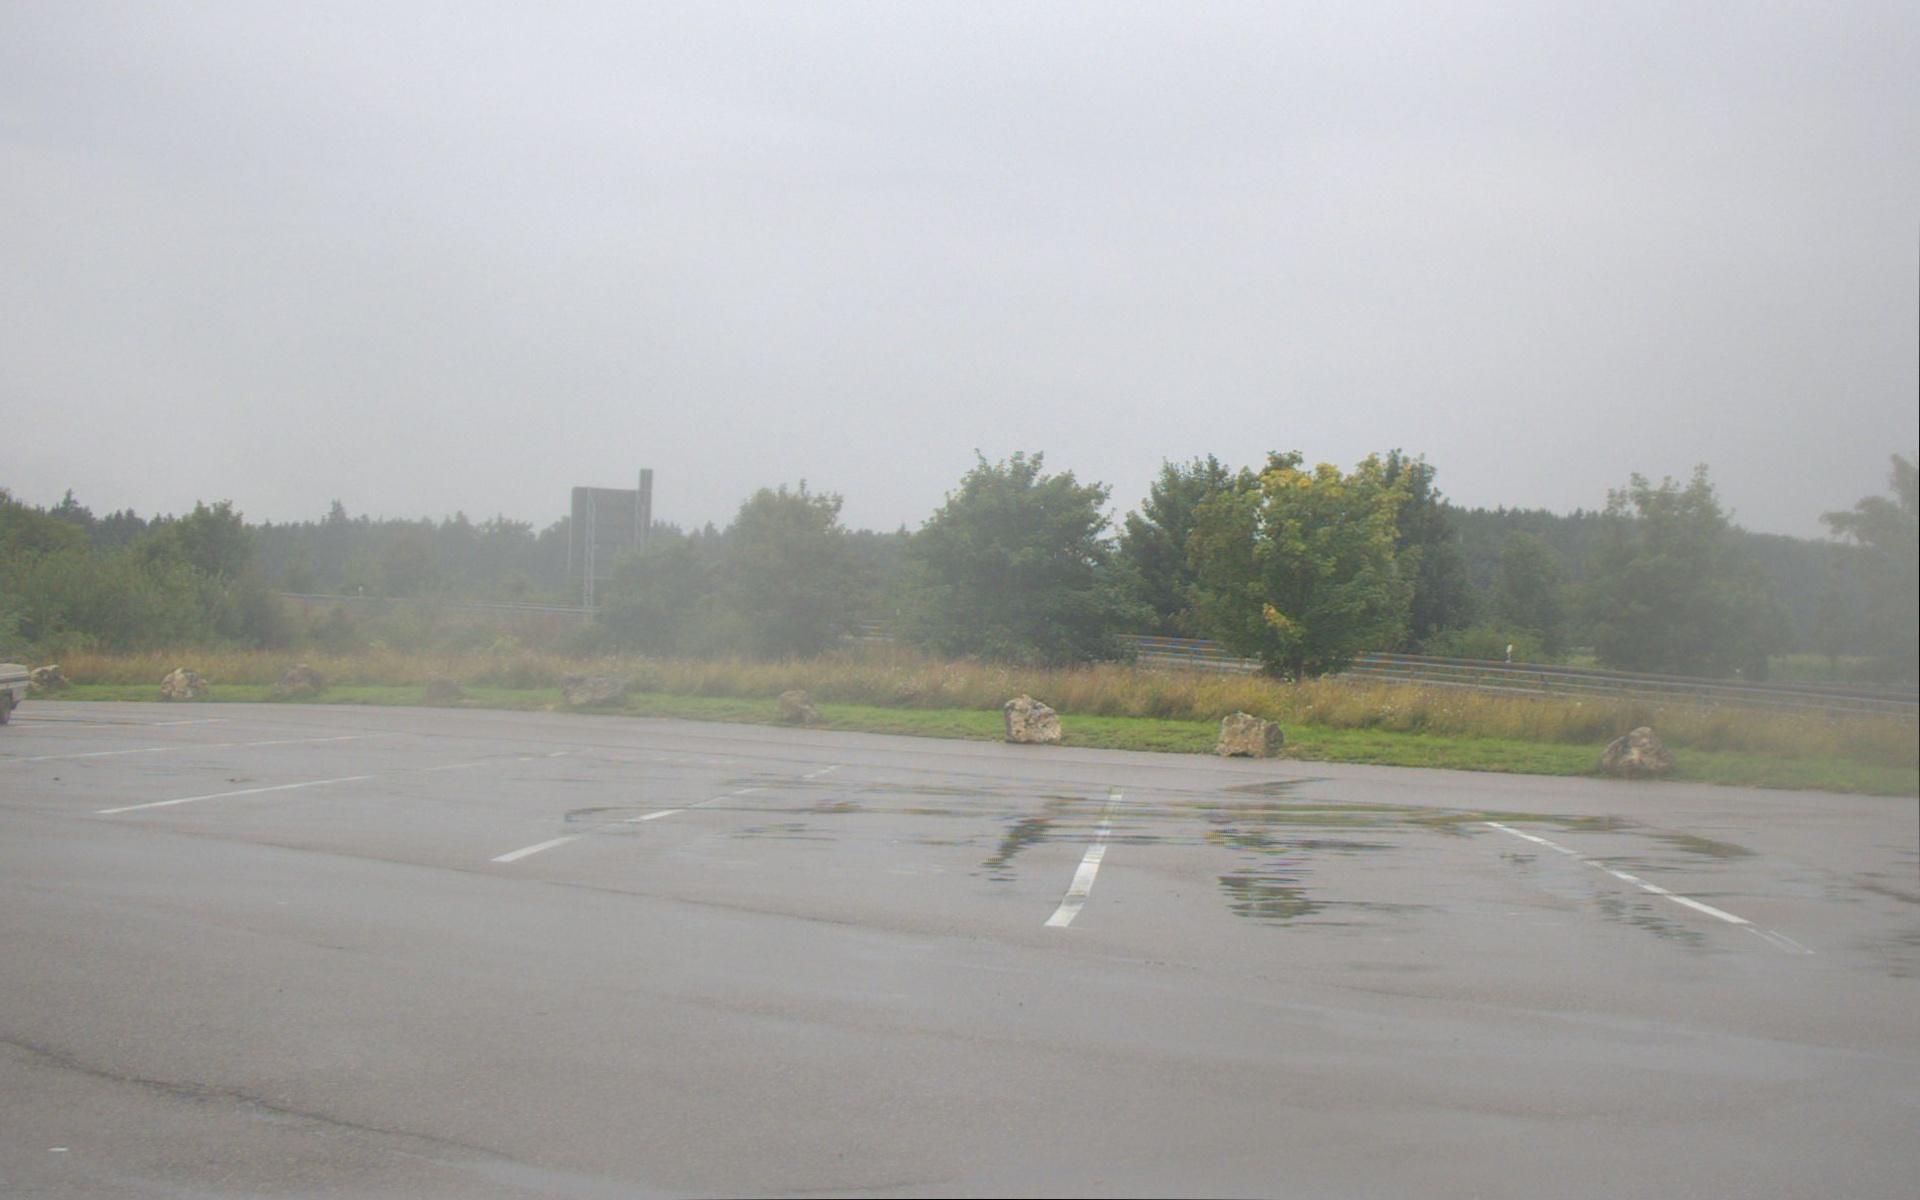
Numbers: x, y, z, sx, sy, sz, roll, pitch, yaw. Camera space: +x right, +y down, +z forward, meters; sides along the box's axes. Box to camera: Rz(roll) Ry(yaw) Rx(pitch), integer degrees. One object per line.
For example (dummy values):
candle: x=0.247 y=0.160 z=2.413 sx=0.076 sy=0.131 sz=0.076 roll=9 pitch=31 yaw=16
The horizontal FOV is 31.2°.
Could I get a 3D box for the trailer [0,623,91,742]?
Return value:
trailer: x=-13.062 y=1.076 z=45.677 sx=1.695 sy=1.527 sz=3.999 roll=1 pitch=-1 yaw=5
